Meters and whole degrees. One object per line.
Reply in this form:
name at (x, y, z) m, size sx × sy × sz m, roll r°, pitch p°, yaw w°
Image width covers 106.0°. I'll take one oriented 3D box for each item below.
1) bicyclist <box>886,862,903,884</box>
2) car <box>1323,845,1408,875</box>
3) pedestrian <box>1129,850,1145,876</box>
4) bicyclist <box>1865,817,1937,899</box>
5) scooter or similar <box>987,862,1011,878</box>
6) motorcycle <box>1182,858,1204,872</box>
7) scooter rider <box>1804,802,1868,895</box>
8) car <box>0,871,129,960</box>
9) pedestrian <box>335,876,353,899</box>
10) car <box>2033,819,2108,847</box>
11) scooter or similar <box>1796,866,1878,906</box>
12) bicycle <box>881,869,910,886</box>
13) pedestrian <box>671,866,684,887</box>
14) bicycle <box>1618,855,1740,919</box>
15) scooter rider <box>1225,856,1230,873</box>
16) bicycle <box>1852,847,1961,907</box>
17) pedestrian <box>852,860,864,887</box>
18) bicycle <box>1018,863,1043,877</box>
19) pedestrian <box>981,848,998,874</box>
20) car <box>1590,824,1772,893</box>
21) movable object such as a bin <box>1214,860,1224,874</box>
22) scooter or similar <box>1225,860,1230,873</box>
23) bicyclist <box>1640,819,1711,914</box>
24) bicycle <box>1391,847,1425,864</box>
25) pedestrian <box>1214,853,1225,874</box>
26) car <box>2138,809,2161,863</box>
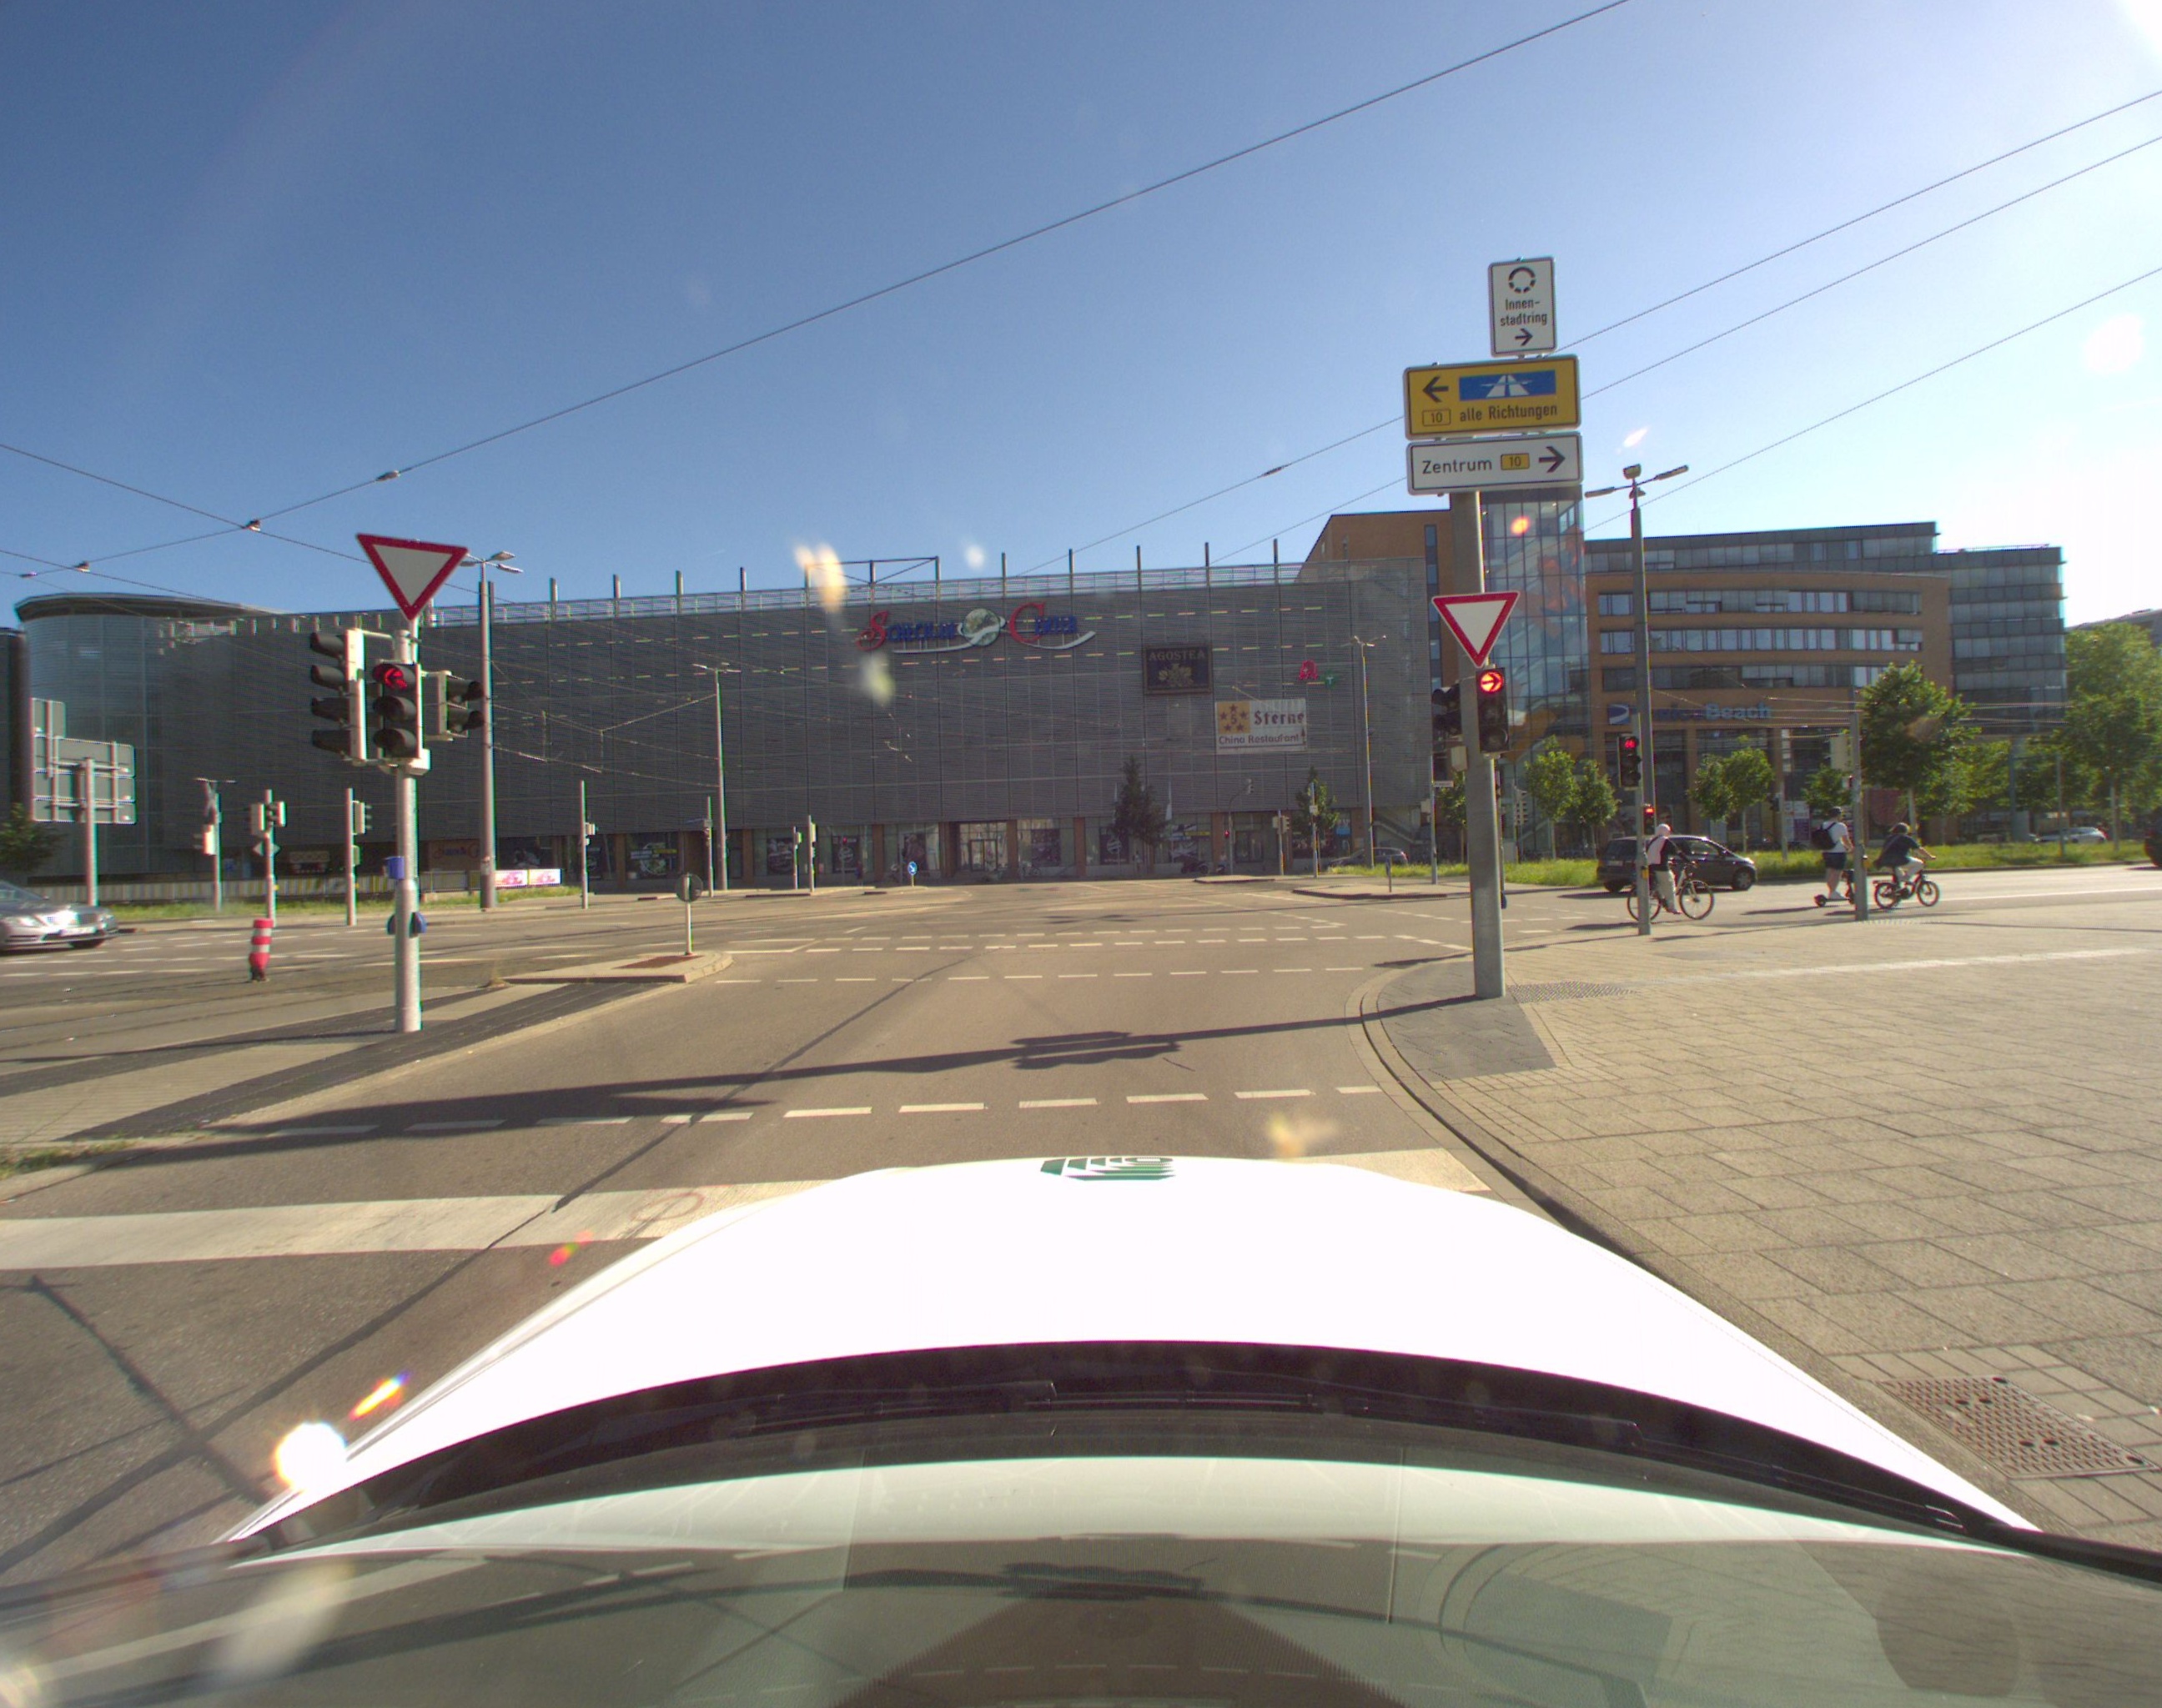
bicyclist at (-12.626, 1.274, 55.240) m, size 0.667 × 1.427 × 0.855 m, roll -1°, pitch 2°, yaw 45°
car at (15.884, 0.348, 45.620) m, size 4.132 × 1.470 × 1.841 m, roll 2°, pitch -1°, yaw 0°
pedestrian at (4.094, 0.634, 59.245) m, size 1.007 × 1.828 × 1.037 m, roll -3°, pitch 0°, yaw 5°
bicyclist at (16.137, 0.075, 16.042) m, size 0.882 × 1.566 × 0.572 m, roll 0°, pitch -1°, yaw -8°
scooter or similar at (-6.181, 1.203, 61.233) m, size 1.790 × 1.066 × 0.611 m, roll -2°, pitch 1°, yaw -6°
motorcycle at (8.315, 0.830, 60.597) m, size 1.630 × 1.004 × 0.448 m, roll 0°, pitch 0°, yaw 8°
scooter rider at (15.491, -0.120, 16.718) m, size 0.783 × 1.872 × 0.572 m, roll 0°, pitch -1°, yaw -8°
car at (-21.681, 1.195, 15.539) m, size 4.842 × 1.572 × 1.706 m, roll -2°, pitch 0°, yaw -2°
pedestrian at (-52.612, 2.390, 58.123) m, size 0.656 × 1.601 × 0.652 m, roll -1°, pitch -1°, yaw 8°
car at (67.343, -1.416, 55.407) m, size 4.300 × 1.645 × 1.830 m, roll 2°, pitch -1°, yaw -18°
scooter or similar at (15.500, 0.656, 16.716) m, size 1.208 × 0.786 × 0.613 m, roll 0°, pitch -1°, yaw -9°
bicycle at (-12.583, 1.585, 55.313) m, size 0.562 × 1.086 × 1.874 m, roll -1°, pitch 2°, yaw 45°
pedestrian at (-31.487, 1.766, 63.584) m, size 0.654 × 1.601 × 0.597 m, roll -1°, pitch -1°, yaw 20°
bicycle at (11.004, 0.601, 15.006) m, size 1.897 × 1.137 × 0.580 m, roll -1°, pitch -1°, yaw -5°
scooter rider at (9.910, 0.705, 54.950) m, size 0.286 × 1.200 × 0.387 m, roll -1°, pitch -1°, yaw 12°
bicycle at (16.281, 0.435, 16.067) m, size 1.753 × 1.137 × 0.585 m, roll 0°, pitch -1°, yaw -9°
pedestrian at (-15.200, 1.311, 55.465) m, size 0.695 × 1.797 × 0.727 m, roll -3°, pitch 0°, yaw -14°
bicycle at (-3.779, 1.174, 60.792) m, size 1.815 × 0.989 × 0.556 m, roll -2°, pitch 1°, yaw -8°
pedestrian at (-6.763, 0.497, 60.247) m, size 0.945 × 1.828 × 0.848 m, roll -3°, pitch 0°, yaw 7°
car at (15.743, 0.103, 21.469) m, size 3.683 × 1.646 × 1.644 m, roll -2°, pitch 0°, yaw -5°
movable object such as a bin at (9.274, 0.881, 54.740) m, size 0.608 × 0.904 × 0.972 m, roll -1°, pitch -1°, yaw 12°
scooter or similar at (9.922, 0.869, 55.008) m, size 0.293 × 0.873 × 1.007 m, roll -1°, pitch -1°, yaw 12°
bicyclist at (10.958, 0.225, 15.023) m, size 0.881 × 1.707 × 0.573 m, roll 0°, pitch -1°, yaw -5°
bicycle at (24.345, 0.110, 60.619) m, size 2.247 × 1.296 × 0.606 m, roll 0°, pitch -1°, yaw 0°
pedestrian at (9.407, 0.630, 55.203) m, size 0.650 × 1.414 × 0.853 m, roll -1°, pitch -1°, yaw 12°
car at (34.810, -0.606, 24.698) m, size 4.186 × 1.646 × 1.641 m, roll -2°, pitch 0°, yaw -11°
